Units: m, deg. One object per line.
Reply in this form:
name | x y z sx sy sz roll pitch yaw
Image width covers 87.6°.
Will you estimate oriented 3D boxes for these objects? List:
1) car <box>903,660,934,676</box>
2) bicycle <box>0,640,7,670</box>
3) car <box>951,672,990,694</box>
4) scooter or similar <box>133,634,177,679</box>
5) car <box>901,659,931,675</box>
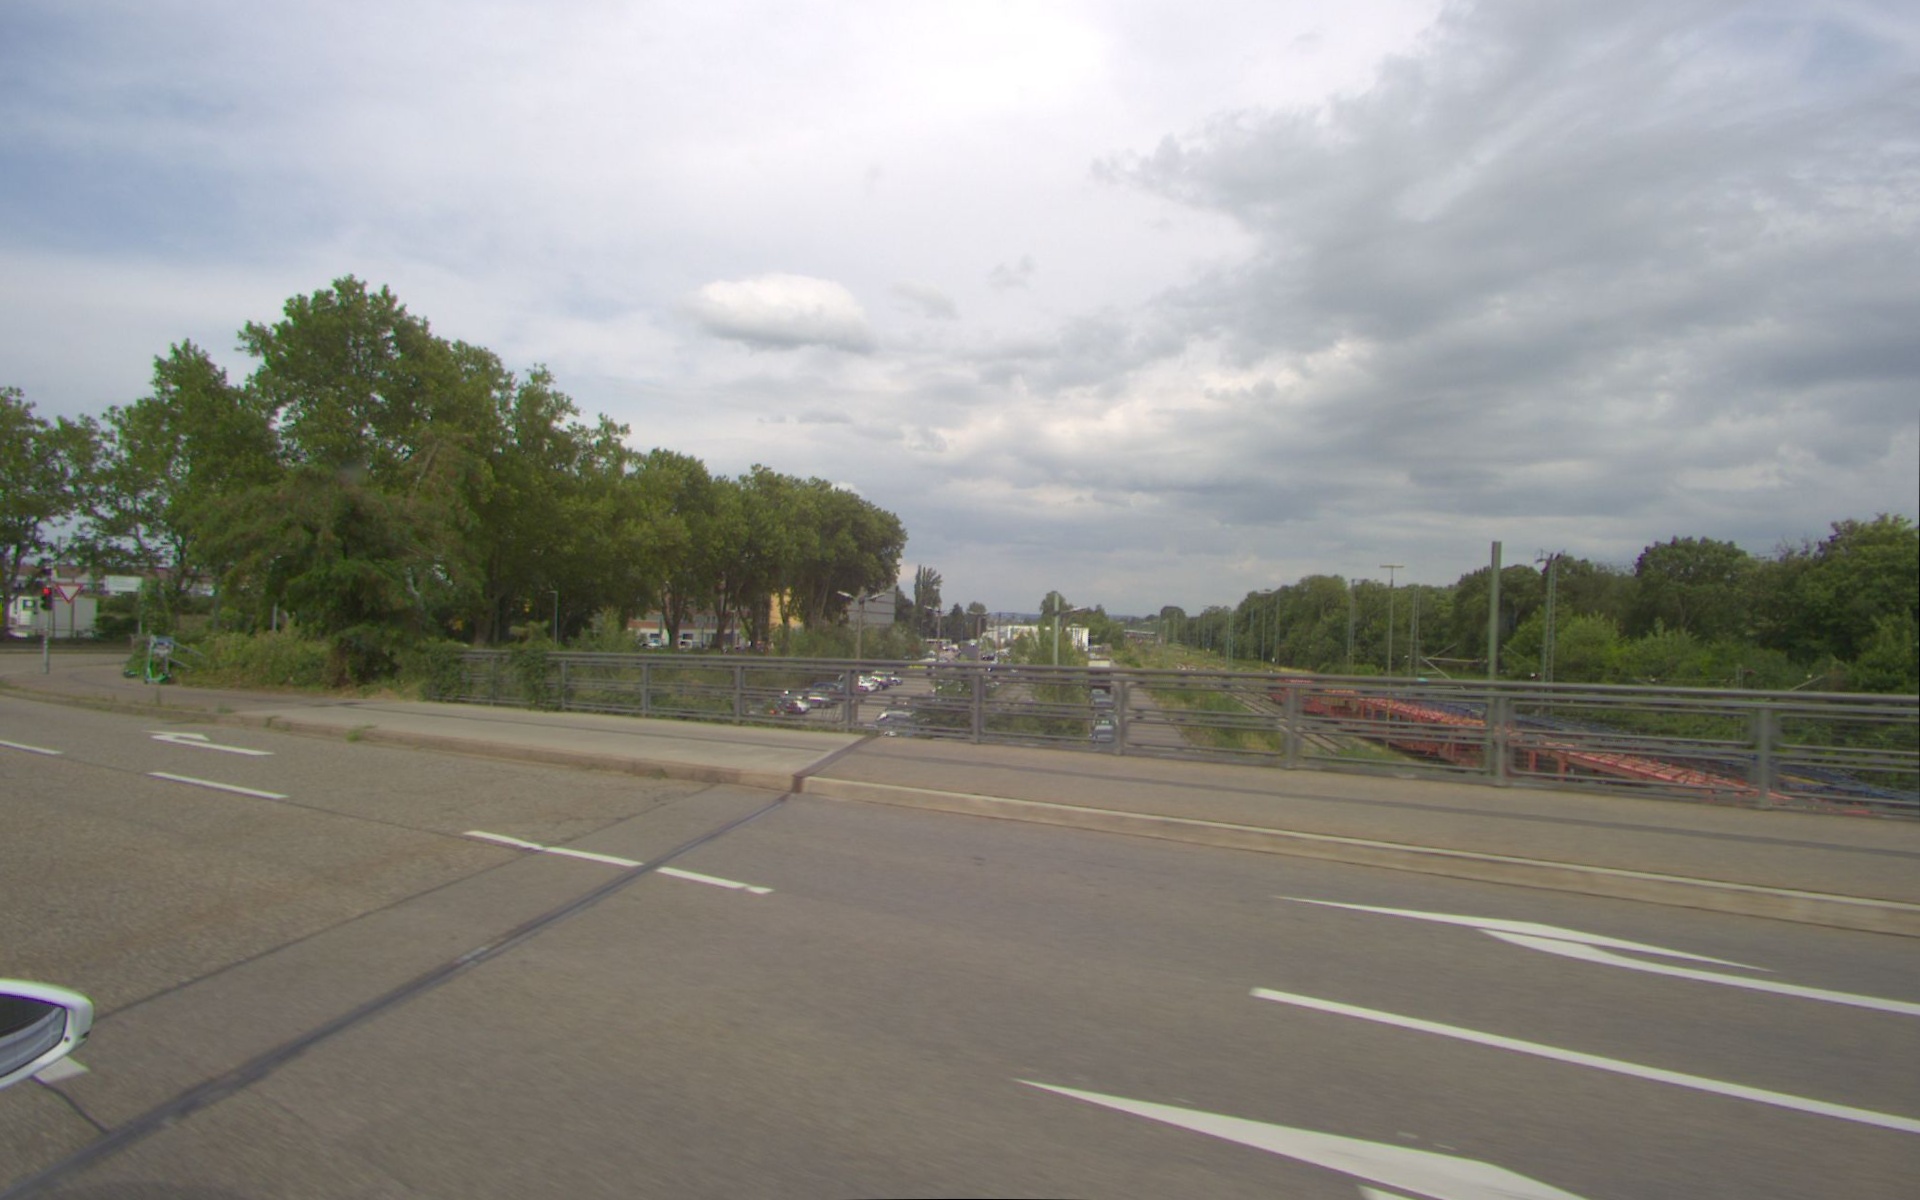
car | -5.711 9.348 138.131 3.923 2.039 1.763 2 -1 9
bicycle | -32.744 1.781 32.664 2.199 0.964 0.809 2 -1 -23
car | 1.160 8.617 104.425 3.922 2.039 1.763 2 -1 3
scooter or similar | -21.960 1.532 27.313 1.260 1.198 0.396 0 -1 26
car | -6.154 9.416 140.998 3.923 2.039 1.763 2 -1 9
